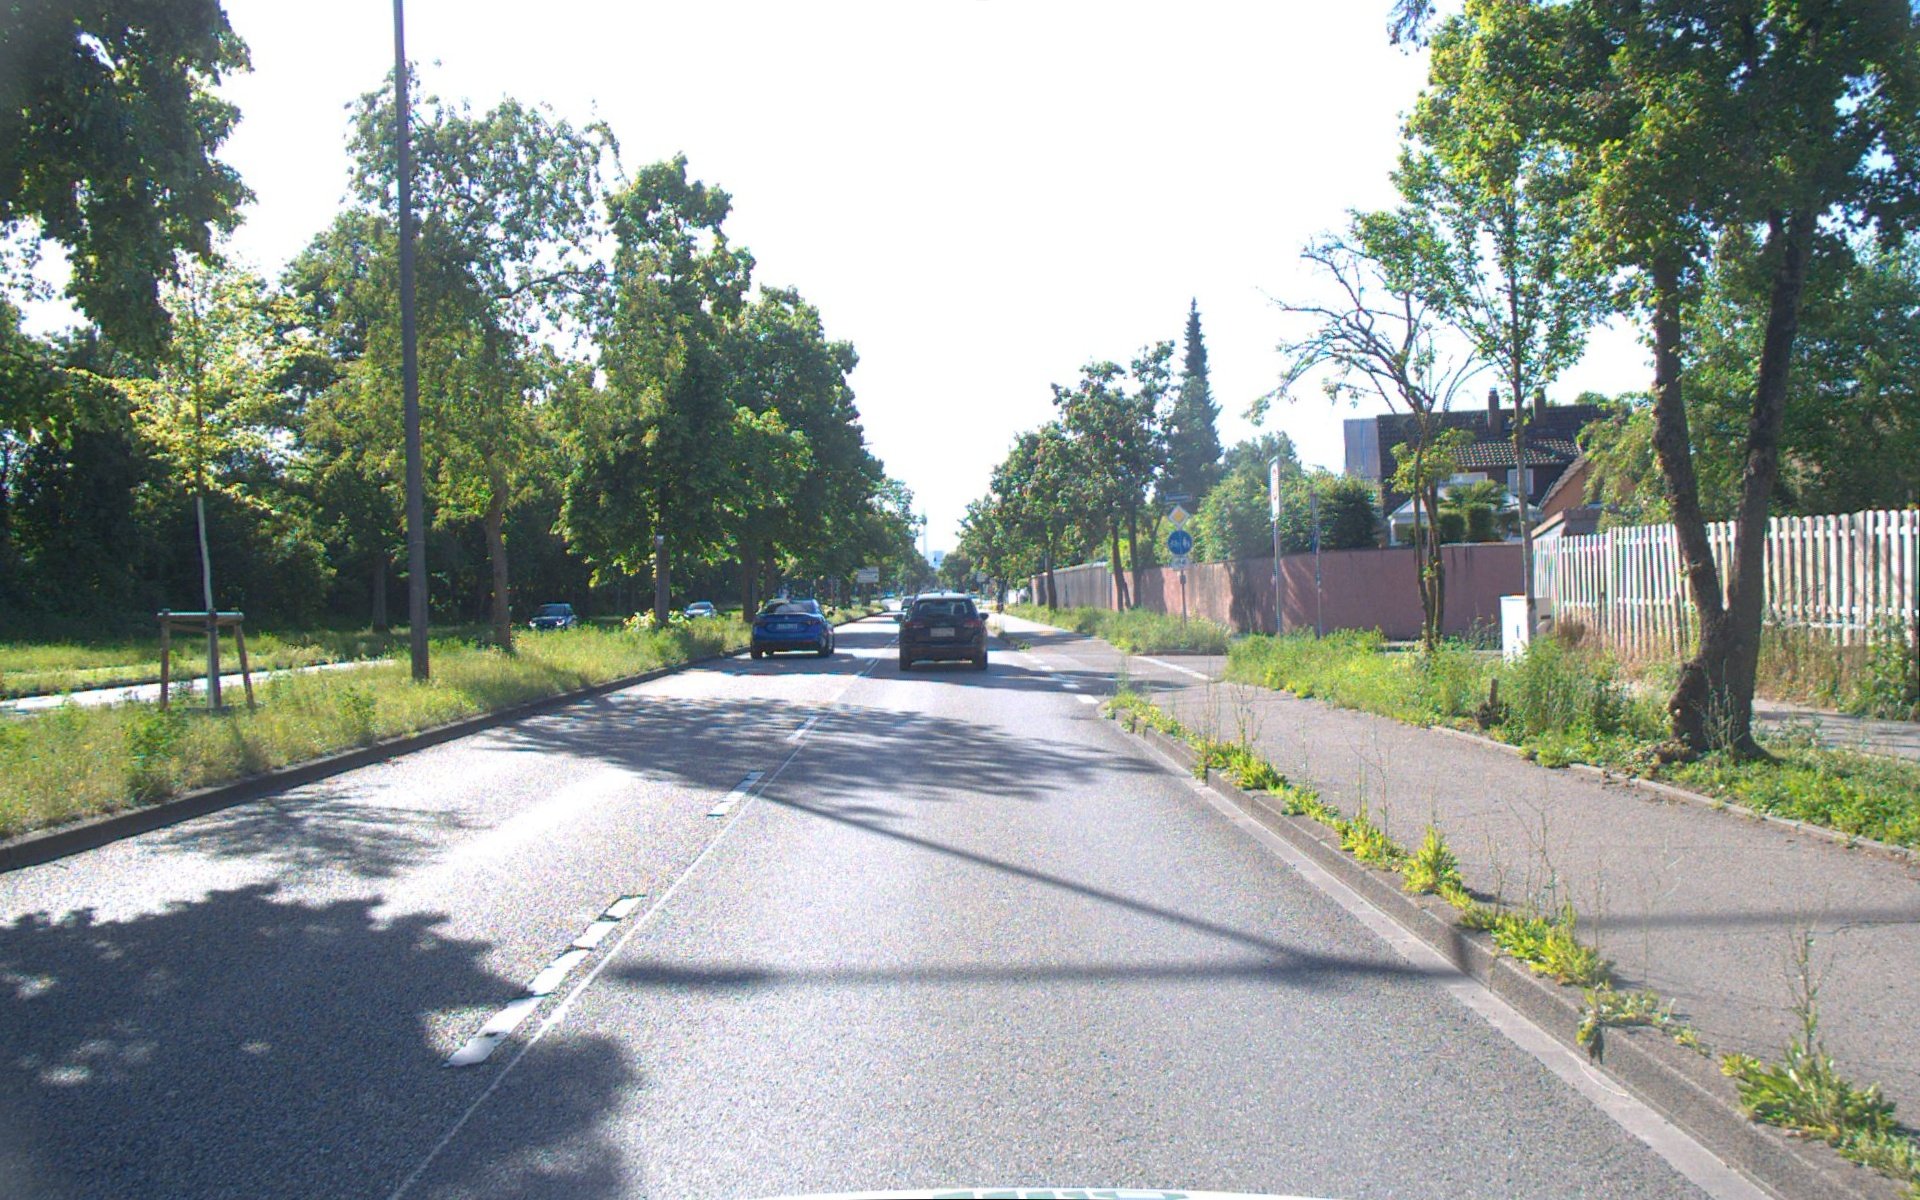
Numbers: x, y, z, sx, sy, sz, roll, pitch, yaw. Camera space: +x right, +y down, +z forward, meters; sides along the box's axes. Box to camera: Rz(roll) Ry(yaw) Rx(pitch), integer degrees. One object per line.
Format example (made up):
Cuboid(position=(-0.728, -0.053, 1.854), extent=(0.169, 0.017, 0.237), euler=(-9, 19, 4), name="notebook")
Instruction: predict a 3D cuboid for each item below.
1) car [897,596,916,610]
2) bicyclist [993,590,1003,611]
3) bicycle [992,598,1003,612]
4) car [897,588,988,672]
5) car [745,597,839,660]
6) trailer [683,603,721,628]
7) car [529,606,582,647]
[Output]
Cuboid(position=(-5.931, 0.303, 182.800), extent=(1.939, 1.465, 3.997), euler=(-1, 1, -5), name="car")
Cuboid(position=(2.541, 0.027, 110.713), extent=(0.666, 1.443, 0.812), euler=(-1, 0, -1), name="bicyclist")
Cuboid(position=(2.529, 0.306, 110.797), extent=(0.642, 0.908, 1.874), euler=(-1, 0, -1), name="bicycle")
Cuboid(position=(-0.319, 0.566, 33.351), extent=(1.724, 1.586, 4.000), euler=(0, 0, 0), name="car")
Cuboid(position=(-4.083, 0.663, 40.782), extent=(1.954, 1.429, 3.999), euler=(-1, 0, -1), name="car")
Cuboid(position=(-16.568, 0.958, 106.349), extent=(1.705, 1.449, 4.496), euler=(-3, 0, 0), name="trailer")
Cuboid(position=(-16.746, 1.086, 68.564), extent=(1.682, 1.531, 3.012), euler=(-3, 1, -7), name="car")
